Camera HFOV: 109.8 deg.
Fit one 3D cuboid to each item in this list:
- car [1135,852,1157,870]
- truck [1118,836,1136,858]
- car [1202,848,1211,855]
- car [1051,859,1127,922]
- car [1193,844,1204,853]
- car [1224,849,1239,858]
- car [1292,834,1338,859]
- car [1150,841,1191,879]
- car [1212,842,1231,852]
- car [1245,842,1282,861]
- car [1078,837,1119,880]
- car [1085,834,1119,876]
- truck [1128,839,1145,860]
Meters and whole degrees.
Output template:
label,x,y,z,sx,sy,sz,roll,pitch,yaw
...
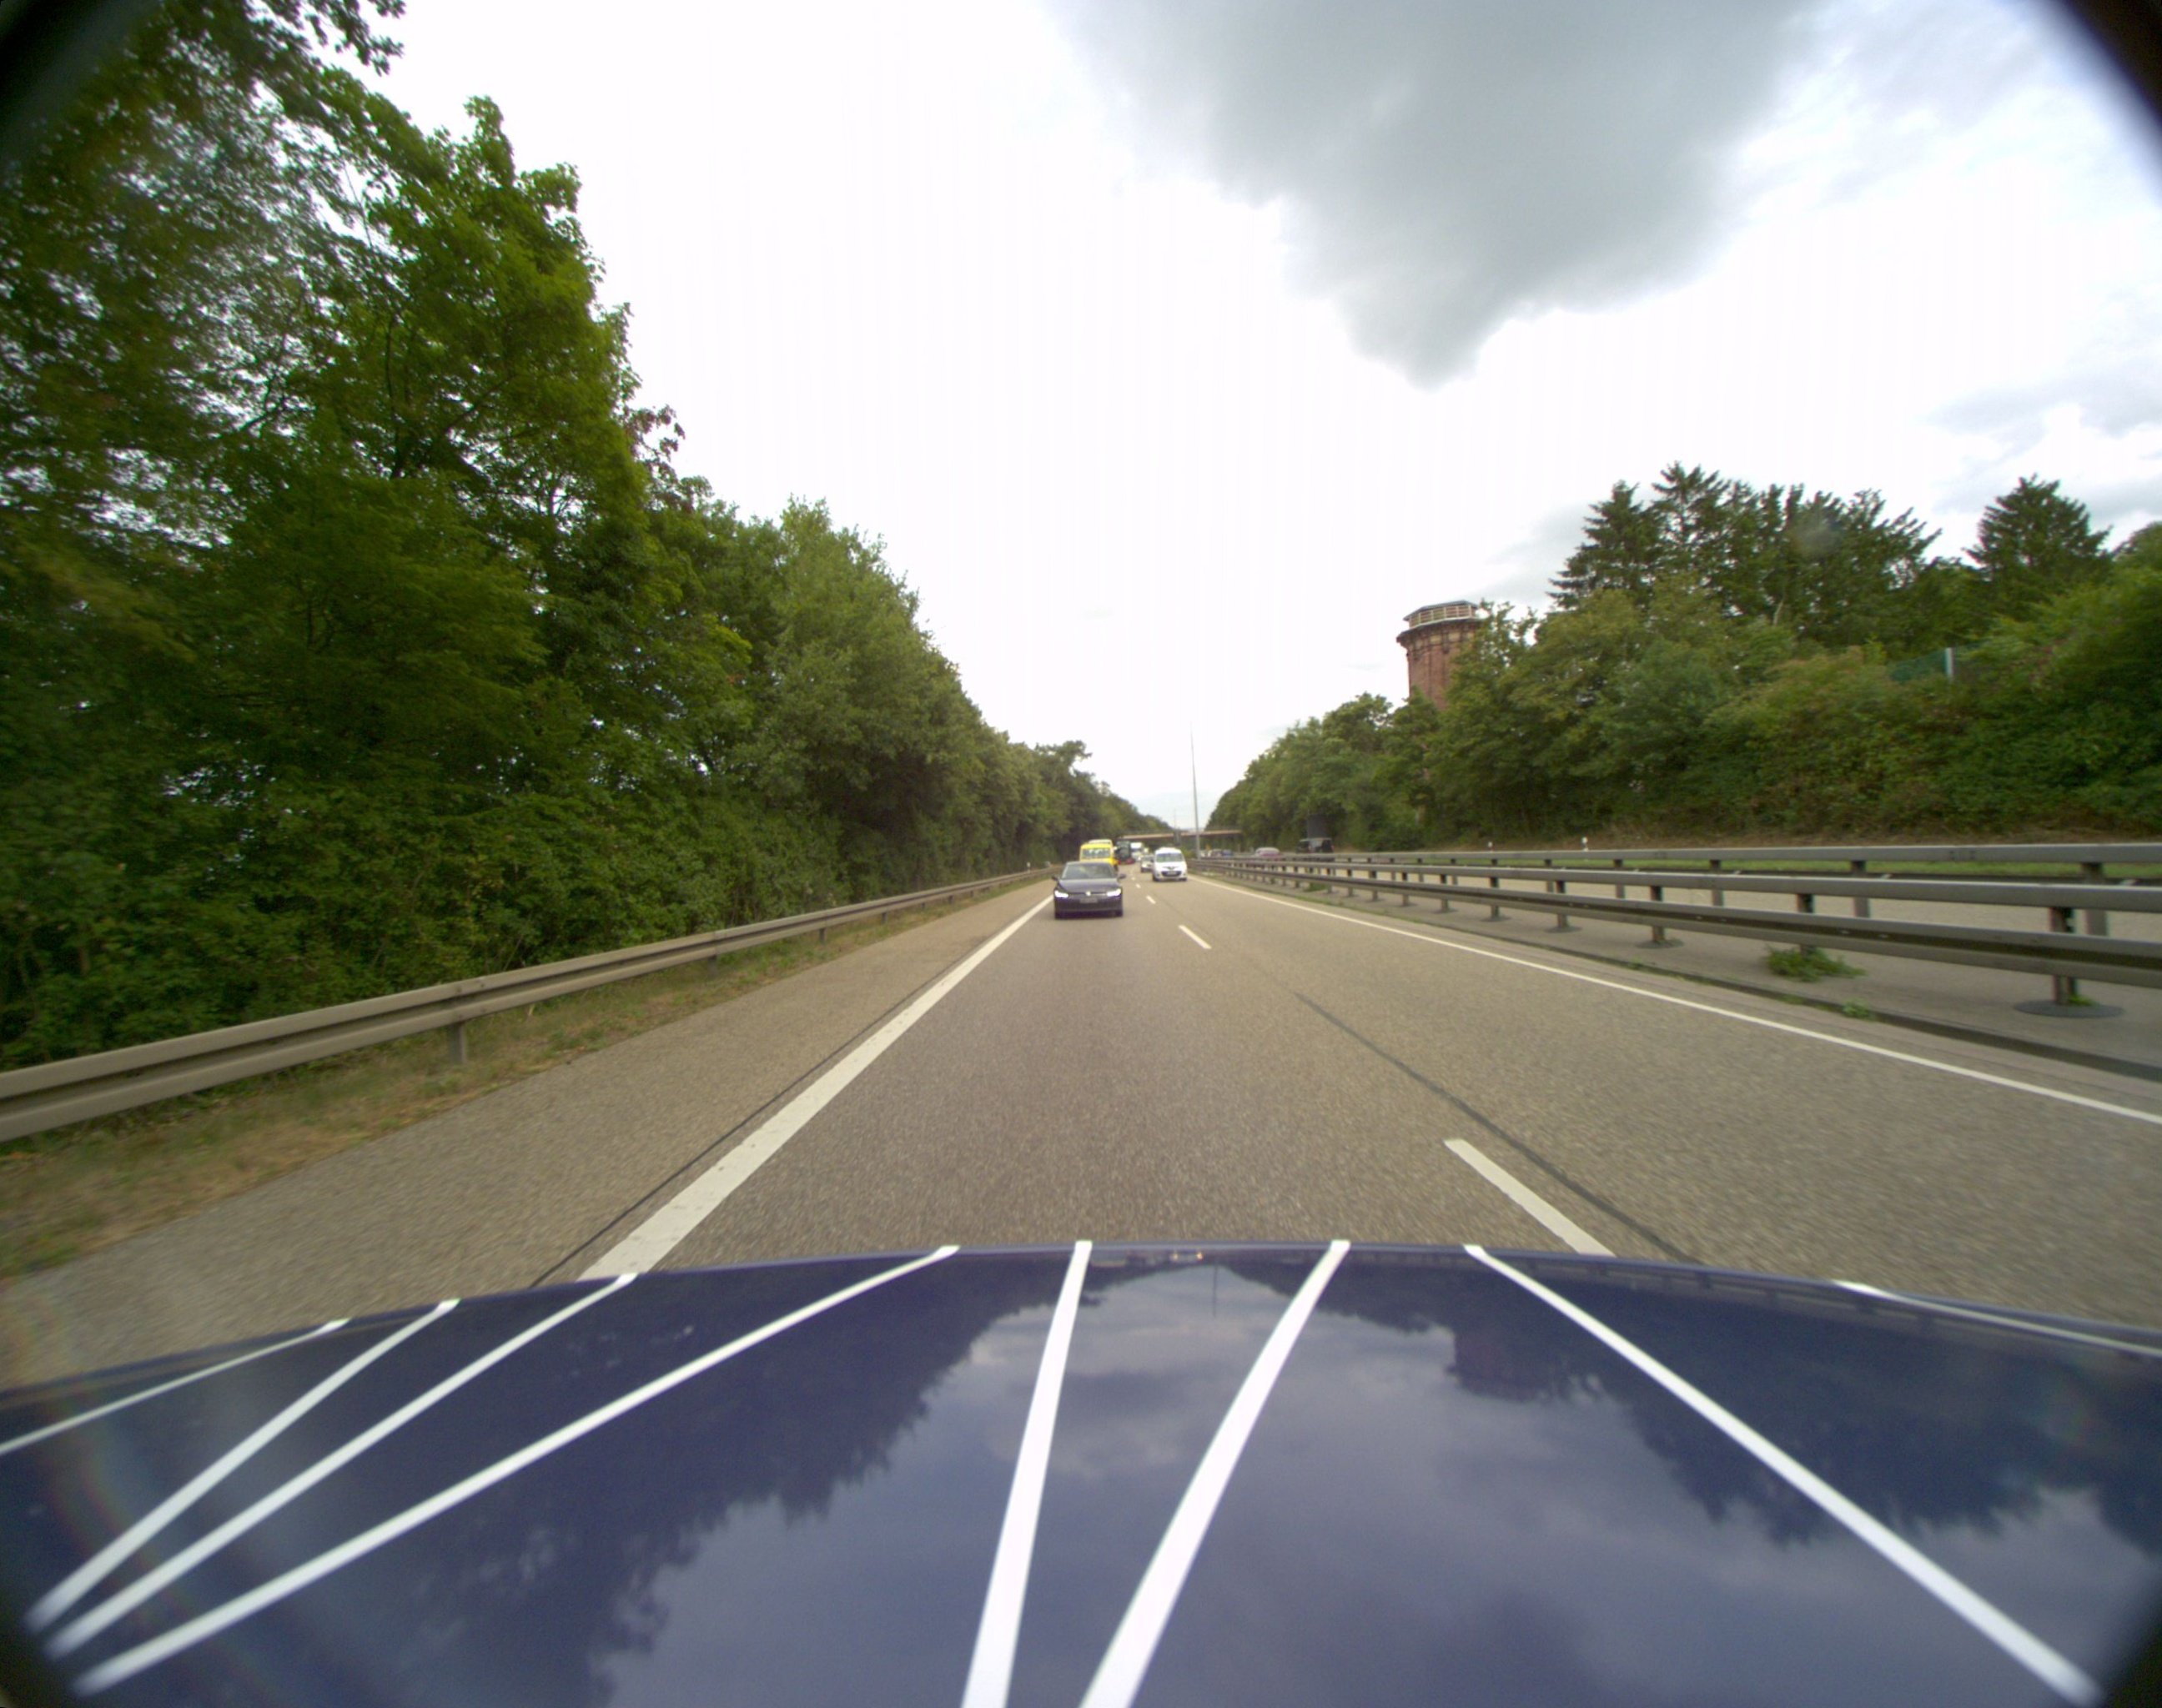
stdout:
label,x,y,z,sx,sy,sz,roll,pitch,yaw
car,5.706,0.583,66.390,1.771,1.416,4.200,-2,1,7
truck,7.844,-1.175,127.834,2.547,3.564,6.459,-2,1,7
car,27.703,-0.562,168.207,1.632,1.499,3.729,-2,1,4
car,0.179,0.899,20.720,1.801,1.398,4.638,-2,1,-1
car,20.742,-0.998,134.272,1.715,1.418,4.058,-2,1,6
car,24.426,-0.131,123.487,1.815,1.441,4.057,-2,1,4
car,17.740,-0.572,57.769,2.040,1.793,5.123,-2,1,2
car,4.993,0.324,43.010,1.821,1.993,4.423,-2,1,1
car,19.217,-0.899,104.005,1.982,1.292,4.068,-2,1,2
car,13.234,-0.178,55.236,1.659,1.271,4.713,-2,1,2
car,1.030,0.211,44.715,2.247,2.334,5.224,-2,1,1
car,1.461,0.041,53.899,2.207,2.732,6.167,-2,1,1
truck,12.292,-1.019,166.644,3.098,4.462,12.214,-2,1,7
